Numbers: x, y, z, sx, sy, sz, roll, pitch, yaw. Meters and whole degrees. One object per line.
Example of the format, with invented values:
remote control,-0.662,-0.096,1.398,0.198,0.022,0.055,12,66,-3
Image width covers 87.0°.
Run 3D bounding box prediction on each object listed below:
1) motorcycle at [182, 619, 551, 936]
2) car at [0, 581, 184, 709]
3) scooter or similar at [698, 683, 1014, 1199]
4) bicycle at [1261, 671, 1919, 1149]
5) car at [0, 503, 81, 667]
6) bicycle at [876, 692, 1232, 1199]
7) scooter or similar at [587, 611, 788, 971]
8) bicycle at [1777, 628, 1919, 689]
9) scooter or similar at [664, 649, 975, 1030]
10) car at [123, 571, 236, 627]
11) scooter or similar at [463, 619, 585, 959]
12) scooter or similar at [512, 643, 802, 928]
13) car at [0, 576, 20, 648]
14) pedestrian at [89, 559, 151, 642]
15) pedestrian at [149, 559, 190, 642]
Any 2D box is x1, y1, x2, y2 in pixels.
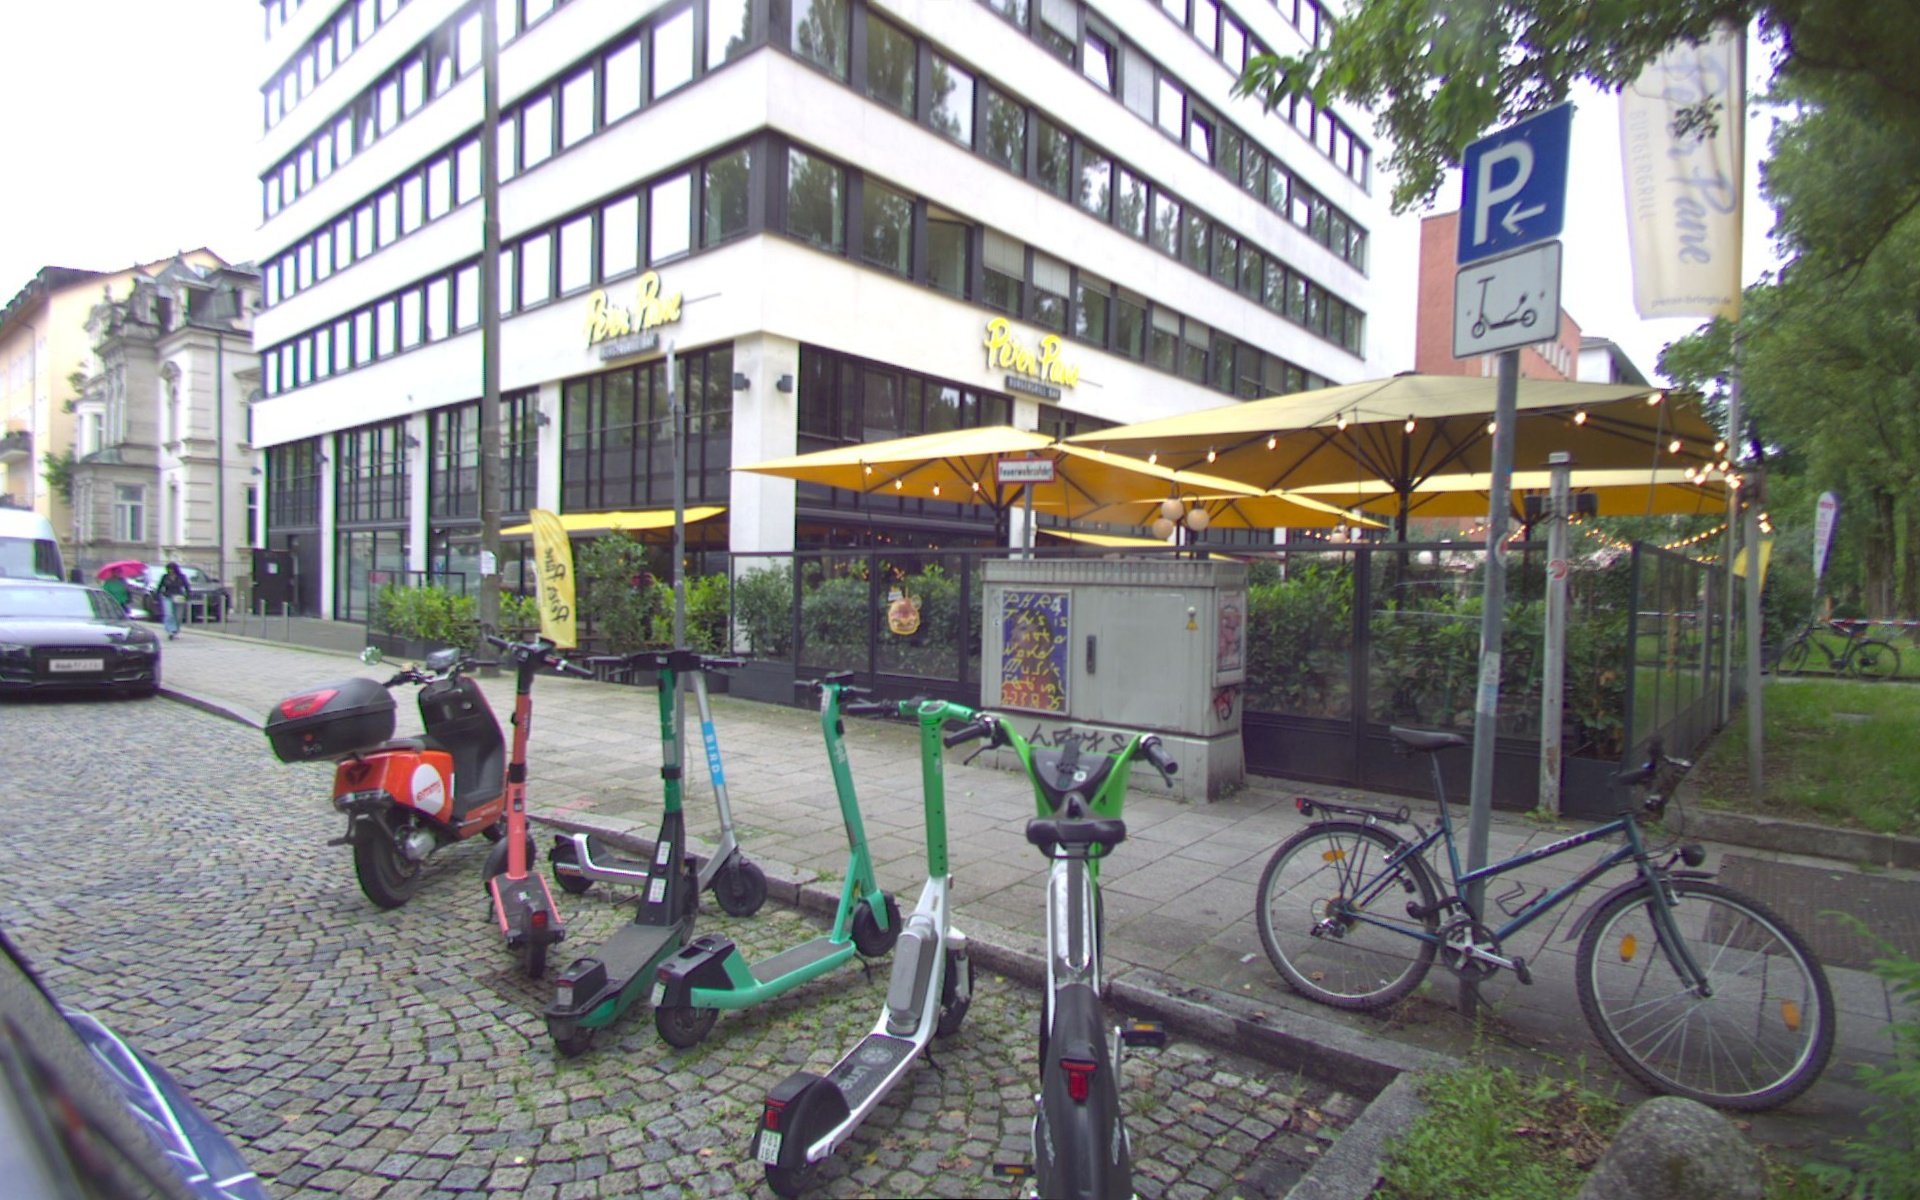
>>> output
motorcycle,-2.795,0.737,5.076,0.760,1.205,1.992,1,1,-3
car,-11.489,0.464,12.735,4.115,1.340,1.973,2,1,41
scooter or similar,-0.198,0.882,2.865,0.366,1.152,1.422,1,1,16
bicycle,1.918,0.816,3.210,1.761,1.030,0.546,2,1,39
car,-16.992,-0.289,17.291,5.844,2.509,2.039,2,1,40
bicycle,0.276,0.899,2.463,0.548,1.151,1.758,1,1,9
scooter or similar,-1.110,0.705,4.335,0.324,1.282,1.247,1,1,10
bicycle,15.290,0.987,17.495,1.800,0.919,0.612,2,1,39
scooter or similar,-0.472,0.789,3.792,0.327,1.152,1.234,2,1,41
car,-23.237,-0.058,30.075,4.167,1.544,1.888,2,1,41
scooter or similar,-1.963,0.756,4.653,0.322,1.282,1.362,1,1,-16
scooter or similar,-1.396,0.823,4.698,1.237,1.189,0.389,1,1,9
car,-21.486,0.199,21.452,4.000,1.441,1.972,2,1,43
pedestrian,-17.889,0.004,21.558,0.800,1.719,0.916,2,1,43
pedestrian,-17.103,-0.007,21.896,0.650,1.761,0.568,2,1,41
